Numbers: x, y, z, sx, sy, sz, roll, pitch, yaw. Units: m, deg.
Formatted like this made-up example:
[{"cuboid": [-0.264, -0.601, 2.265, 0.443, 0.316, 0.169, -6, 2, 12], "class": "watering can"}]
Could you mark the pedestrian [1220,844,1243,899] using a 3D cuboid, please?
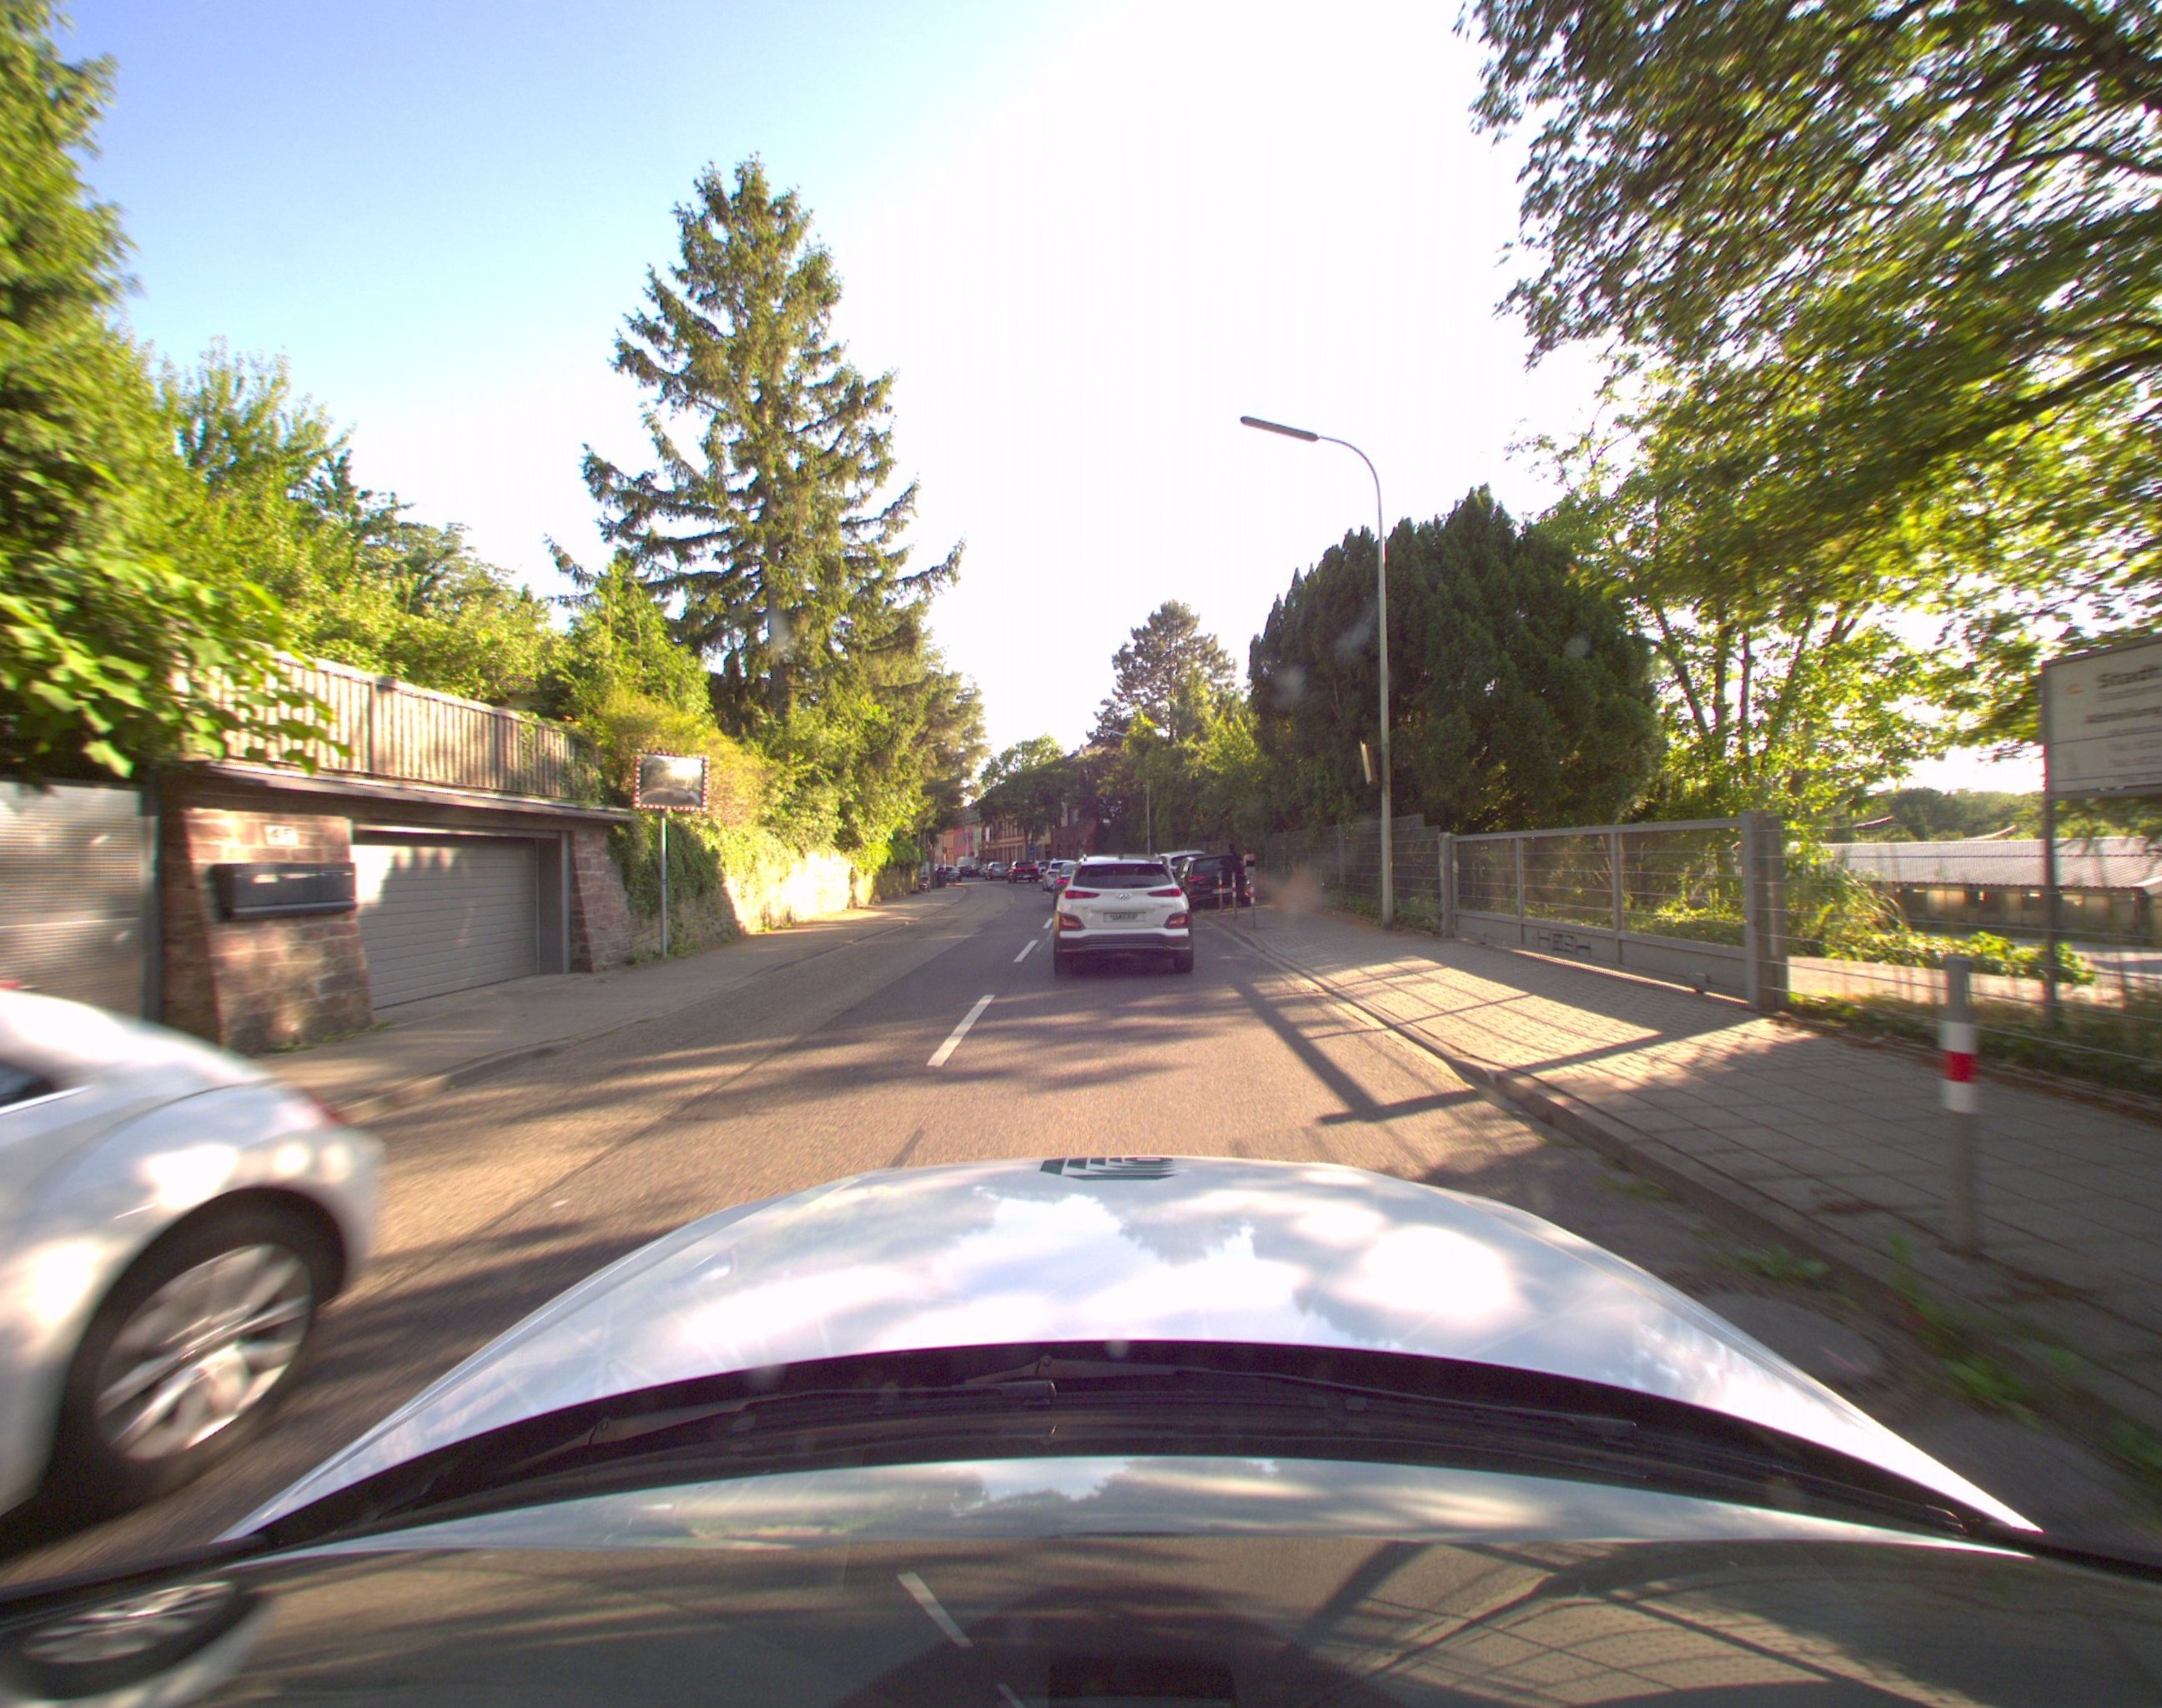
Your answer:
[{"cuboid": [4.585, 0.527, 24.767, 0.501, 1.606, 0.491, -4, -1, 1], "class": "pedestrian"}]

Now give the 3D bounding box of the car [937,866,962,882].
[{"cuboid": [-11.513, 1.703, 71.218, 1.597, 1.317, 3.789, -1, -1, -17], "class": "car"}]

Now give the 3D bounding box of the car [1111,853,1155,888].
[{"cuboid": [2.436, 0.772, 38.898, 1.590, 1.489, 3.597, -4, 0, -3], "class": "car"}]

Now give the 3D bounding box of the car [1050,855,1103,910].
[{"cuboid": [-0.148, 0.831, 25.553, 1.507, 1.533, 3.546, -2, 0, -1], "class": "car"}]

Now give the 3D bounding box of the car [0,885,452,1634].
[{"cuboid": [-3.111, 0.879, 0.794, 1.734, 1.474, 4.002, -3, 0, 2], "class": "car"}]

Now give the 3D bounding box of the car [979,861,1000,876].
[{"cuboid": [-10.467, 1.649, 93.140, 1.759, 1.616, 3.978, 0, 0, -16], "class": "car"}]

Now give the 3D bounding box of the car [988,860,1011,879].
[{"cuboid": [-7.291, 1.378, 72.672, 1.592, 1.582, 3.345, -2, 0, -14], "class": "car"}]

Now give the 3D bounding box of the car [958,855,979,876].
[{"cuboid": [-14.726, 1.542, 106.873, 1.934, 2.583, 4.367, -3, 0, -17], "class": "car"}]

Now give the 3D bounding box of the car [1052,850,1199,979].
[{"cuboid": [0.614, 0.756, 11.962, 1.765, 1.542, 4.002, -1, 0, 2], "class": "car"}]

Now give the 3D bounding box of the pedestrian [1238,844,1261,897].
[{"cuboid": [5.119, 0.504, 24.763, 0.501, 1.569, 0.504, -4, -1, 1], "class": "pedestrian"}]

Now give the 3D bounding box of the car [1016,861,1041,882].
[{"cuboid": [-3.903, 1.272, 59.874, 1.591, 1.461, 3.091, -2, 0, -7], "class": "car"}]

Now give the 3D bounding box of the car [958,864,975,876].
[{"cuboid": [-13.064, 1.854, 92.454, 1.529, 1.260, 3.344, -2, 0, -14], "class": "car"}]

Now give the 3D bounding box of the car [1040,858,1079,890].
[{"cuboid": [-1.089, 0.938, 40.143, 1.569, 1.477, 3.539, -1, 0, -7], "class": "car"}]

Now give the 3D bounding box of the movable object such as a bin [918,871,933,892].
[{"cuboid": [-7.681, 1.346, 40.311, 0.493, 1.011, 1.113, 0, -1, 1], "class": "movable object such as a bin"}]

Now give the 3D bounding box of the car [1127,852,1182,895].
[{"cuboid": [2.947, 0.784, 33.281, 1.590, 1.519, 3.927, -4, -1, -3], "class": "car"}]

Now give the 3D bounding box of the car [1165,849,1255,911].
[{"cuboid": [3.441, 0.657, 22.461, 1.682, 1.431, 3.997, -4, 0, -2], "class": "car"}]

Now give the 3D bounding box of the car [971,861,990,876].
[{"cuboid": [-12.136, 1.737, 98.208, 1.759, 1.616, 3.978, 0, 0, -16], "class": "car"}]

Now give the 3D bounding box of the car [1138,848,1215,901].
[{"cuboid": [3.159, 0.680, 27.703, 1.592, 1.565, 3.990, -4, -1, -7], "class": "car"}]

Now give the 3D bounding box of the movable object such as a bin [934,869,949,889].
[{"cuboid": [-8.629, 1.531, 50.367, 0.789, 1.189, 0.772, 0, -1, 0], "class": "movable object such as a bin"}]
